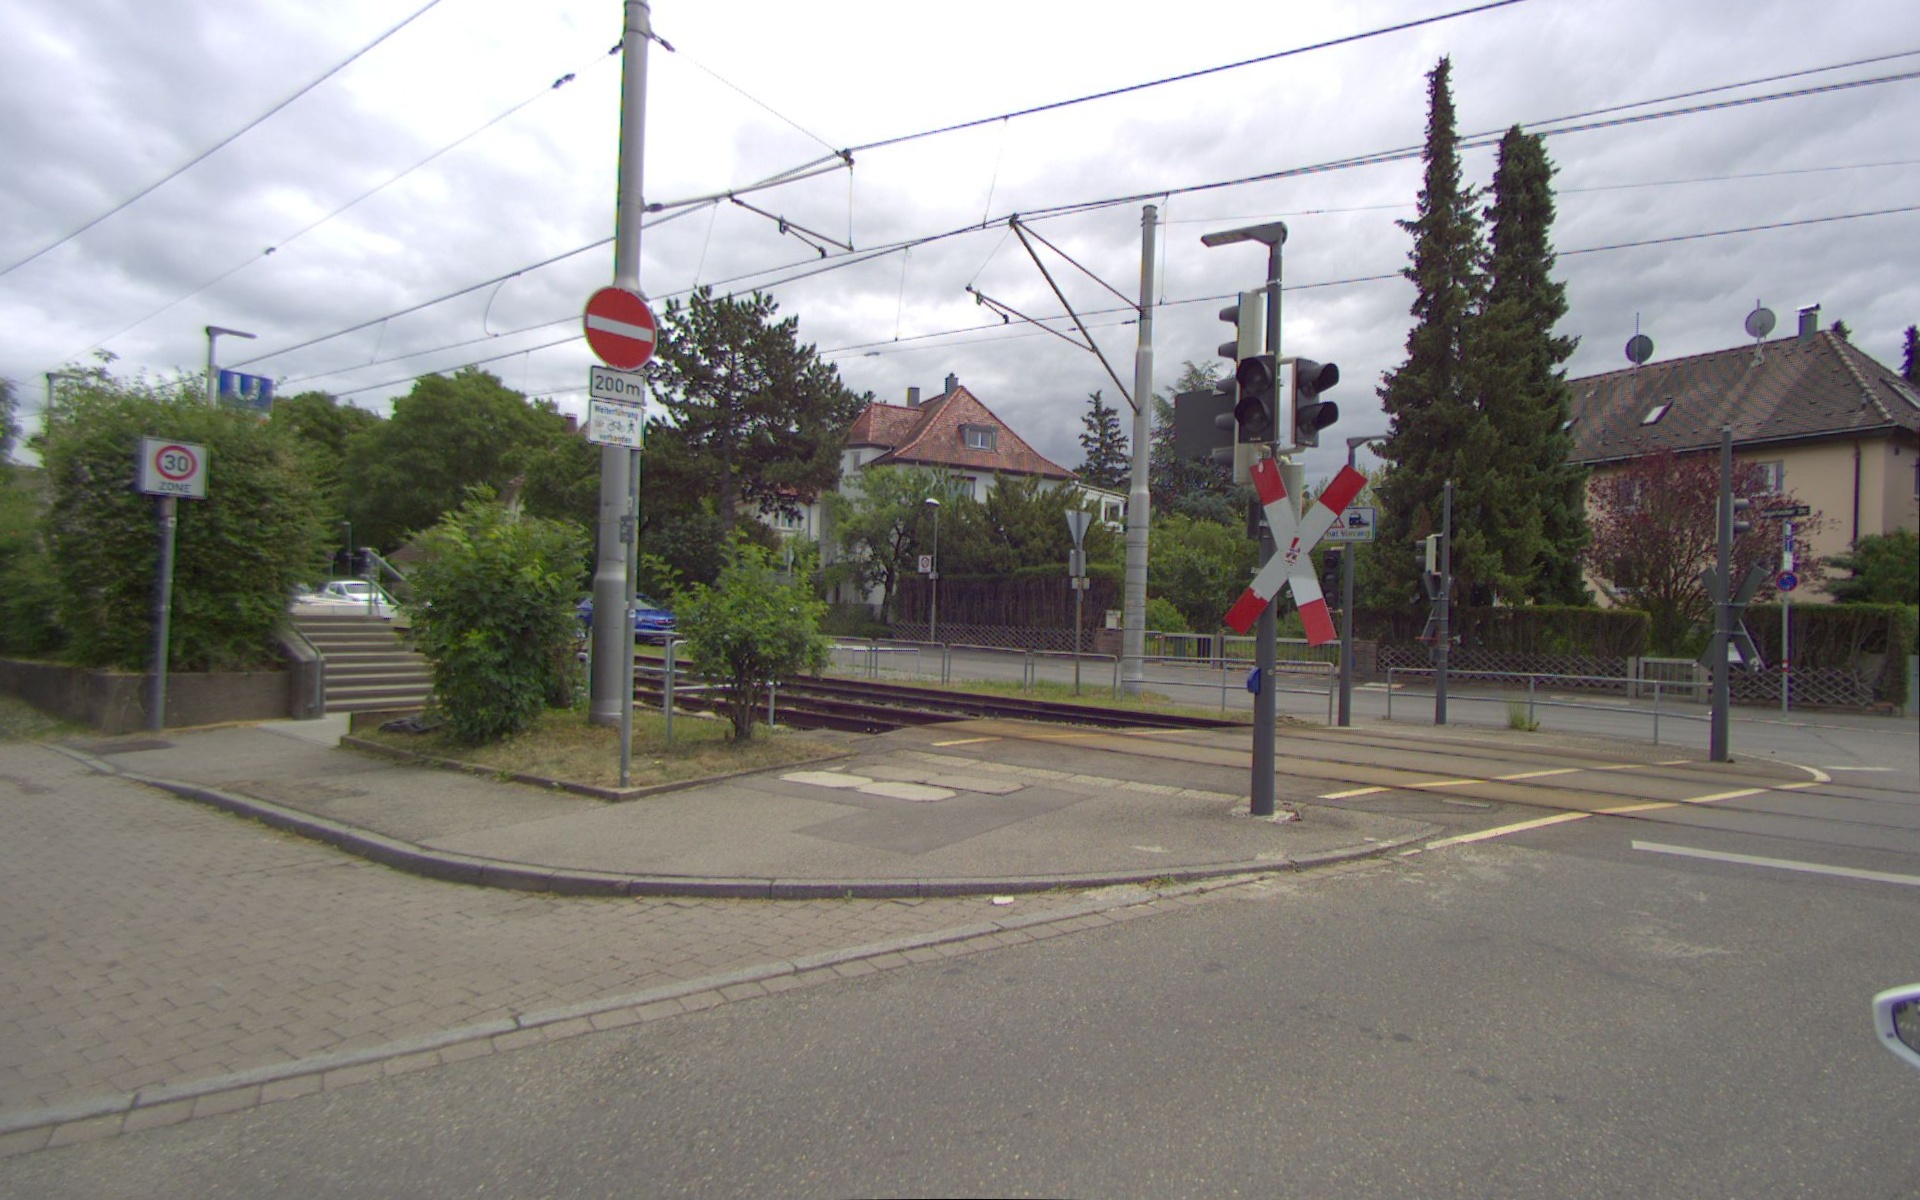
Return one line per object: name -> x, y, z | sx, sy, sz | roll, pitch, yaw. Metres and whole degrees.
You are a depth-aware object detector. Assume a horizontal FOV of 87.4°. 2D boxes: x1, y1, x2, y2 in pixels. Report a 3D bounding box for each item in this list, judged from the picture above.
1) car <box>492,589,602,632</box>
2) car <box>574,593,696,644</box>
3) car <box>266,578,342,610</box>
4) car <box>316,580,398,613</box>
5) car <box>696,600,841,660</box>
car -> -14.777, 0.358, 35.868 | 3.935, 1.394, 1.848 | 2, 0, 36
car -> -10.710, 0.574, 33.050 | 3.935, 1.500, 1.848 | 2, 0, 36
car -> -31.978, -0.296, 48.929 | 3.935, 1.394, 1.848 | 2, 0, 36
car -> -27.844, -0.167, 46.341 | 3.935, 1.394, 1.848 | 2, 0, 36
car -> -5.611, 0.841, 29.346 | 4.050, 1.521, 1.817 | 2, 0, 34
